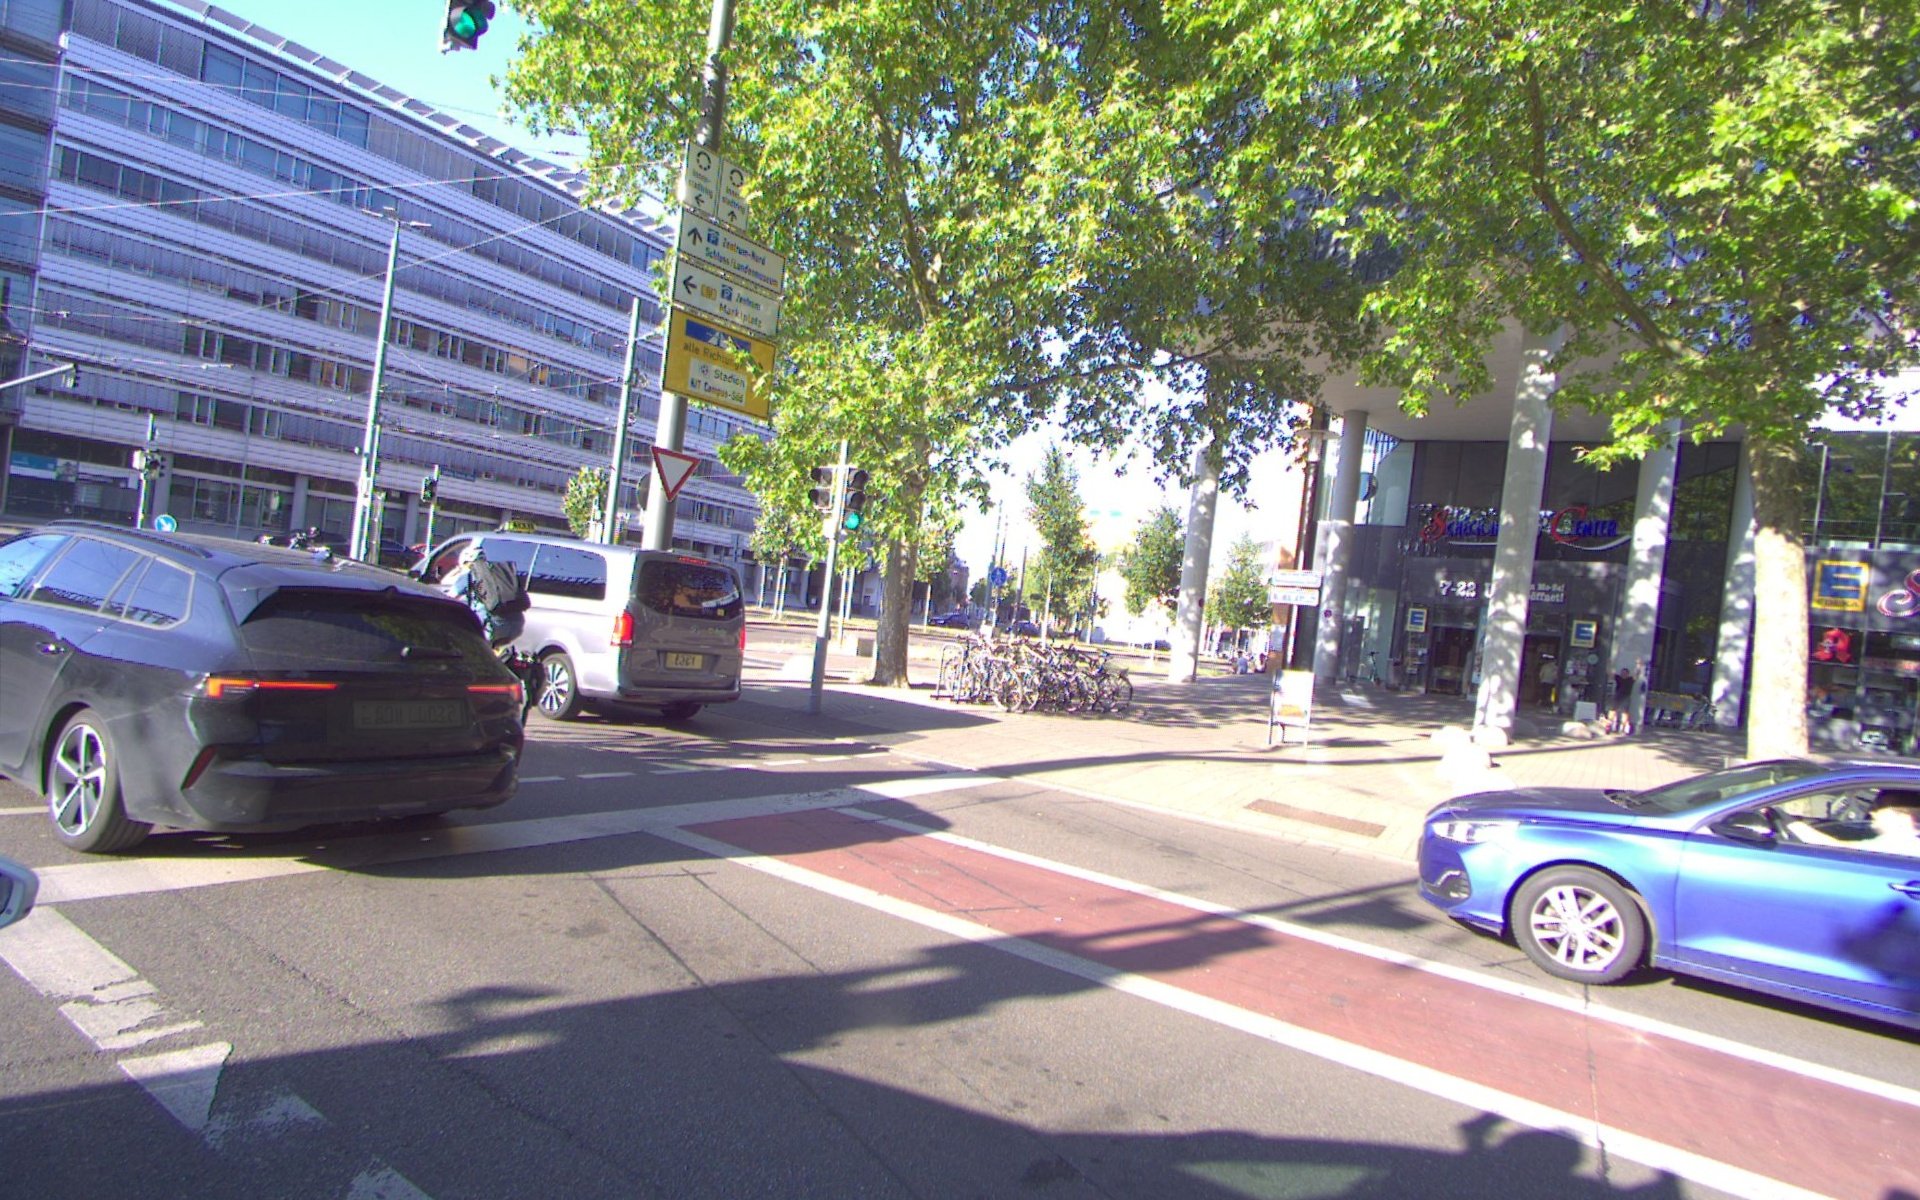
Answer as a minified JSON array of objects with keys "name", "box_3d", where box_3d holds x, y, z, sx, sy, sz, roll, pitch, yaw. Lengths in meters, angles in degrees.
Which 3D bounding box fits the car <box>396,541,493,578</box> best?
[{"name":"car","box_3d":[-26.423,-2.069,51.648,1.758,1.411,3.984,7,1,37]}]

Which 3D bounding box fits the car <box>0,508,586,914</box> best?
[{"name":"car","box_3d":[-4.345,0.352,5.607,4.195,1.431,1.744,7,-1,27]}]

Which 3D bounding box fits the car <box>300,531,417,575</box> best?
[{"name":"car","box_3d":[-27.323,-2.122,45.791,1.758,1.415,4.157,7,0,37]}]

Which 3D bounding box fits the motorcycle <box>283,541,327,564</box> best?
[{"name":"motorcycle","box_3d":[-30.146,-2.184,46.316,0.460,0.820,1.568,7,0,36]}]

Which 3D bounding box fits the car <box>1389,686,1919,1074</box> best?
[{"name":"car","box_3d":[4.849,1.534,5.631,4.181,1.503,1.741,7,0,31]}]

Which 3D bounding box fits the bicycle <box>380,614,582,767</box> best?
[{"name":"bicycle","box_3d":[-4.082,0.729,8.519,1.839,0.993,0.561,7,1,32]}]

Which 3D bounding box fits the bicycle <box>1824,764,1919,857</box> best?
[{"name":"bicycle","box_3d":[11.506,2.606,12.354,0.460,0.938,1.210,6,0,-39]}]

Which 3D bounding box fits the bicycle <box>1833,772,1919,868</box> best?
[{"name":"bicycle","box_3d":[10.572,2.480,11.134,1.233,0.898,0.462,7,1,32]}]

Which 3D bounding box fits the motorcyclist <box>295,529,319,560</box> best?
[{"name":"motorcyclist","box_3d":[-30.095,-2.557,46.351,0.452,1.291,0.712,7,1,36]}]

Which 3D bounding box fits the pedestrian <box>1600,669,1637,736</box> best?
[{"name":"pedestrian","box_3d":[17.498,2.724,26.729,0.598,1.707,0.511,6,1,-41]}]

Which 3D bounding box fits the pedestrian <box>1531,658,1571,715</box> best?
[{"name":"pedestrian","box_3d":[18.962,2.772,32.255,0.800,1.728,0.710,6,1,-40]}]

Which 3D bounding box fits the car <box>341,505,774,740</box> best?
[{"name":"car","box_3d":[-4.807,0.160,11.749,5.012,2.004,1.939,7,0,31]}]

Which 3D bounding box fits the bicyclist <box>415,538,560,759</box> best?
[{"name":"bicyclist","box_3d":[-3.965,0.396,8.455,0.766,1.714,0.632,7,1,32]}]

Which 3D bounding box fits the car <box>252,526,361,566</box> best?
[{"name":"car","box_3d":[-32.732,-2.696,50.486,1.758,1.415,4.157,7,0,37]}]

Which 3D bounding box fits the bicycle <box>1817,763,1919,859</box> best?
[{"name":"bicycle","box_3d":[11.142,2.535,12.048,0.437,0.930,1.210,6,0,-39]}]

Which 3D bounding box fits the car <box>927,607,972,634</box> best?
[{"name":"car","box_3d":[-0.883,1.780,85.730,1.825,1.759,3.994,6,-2,32]}]
